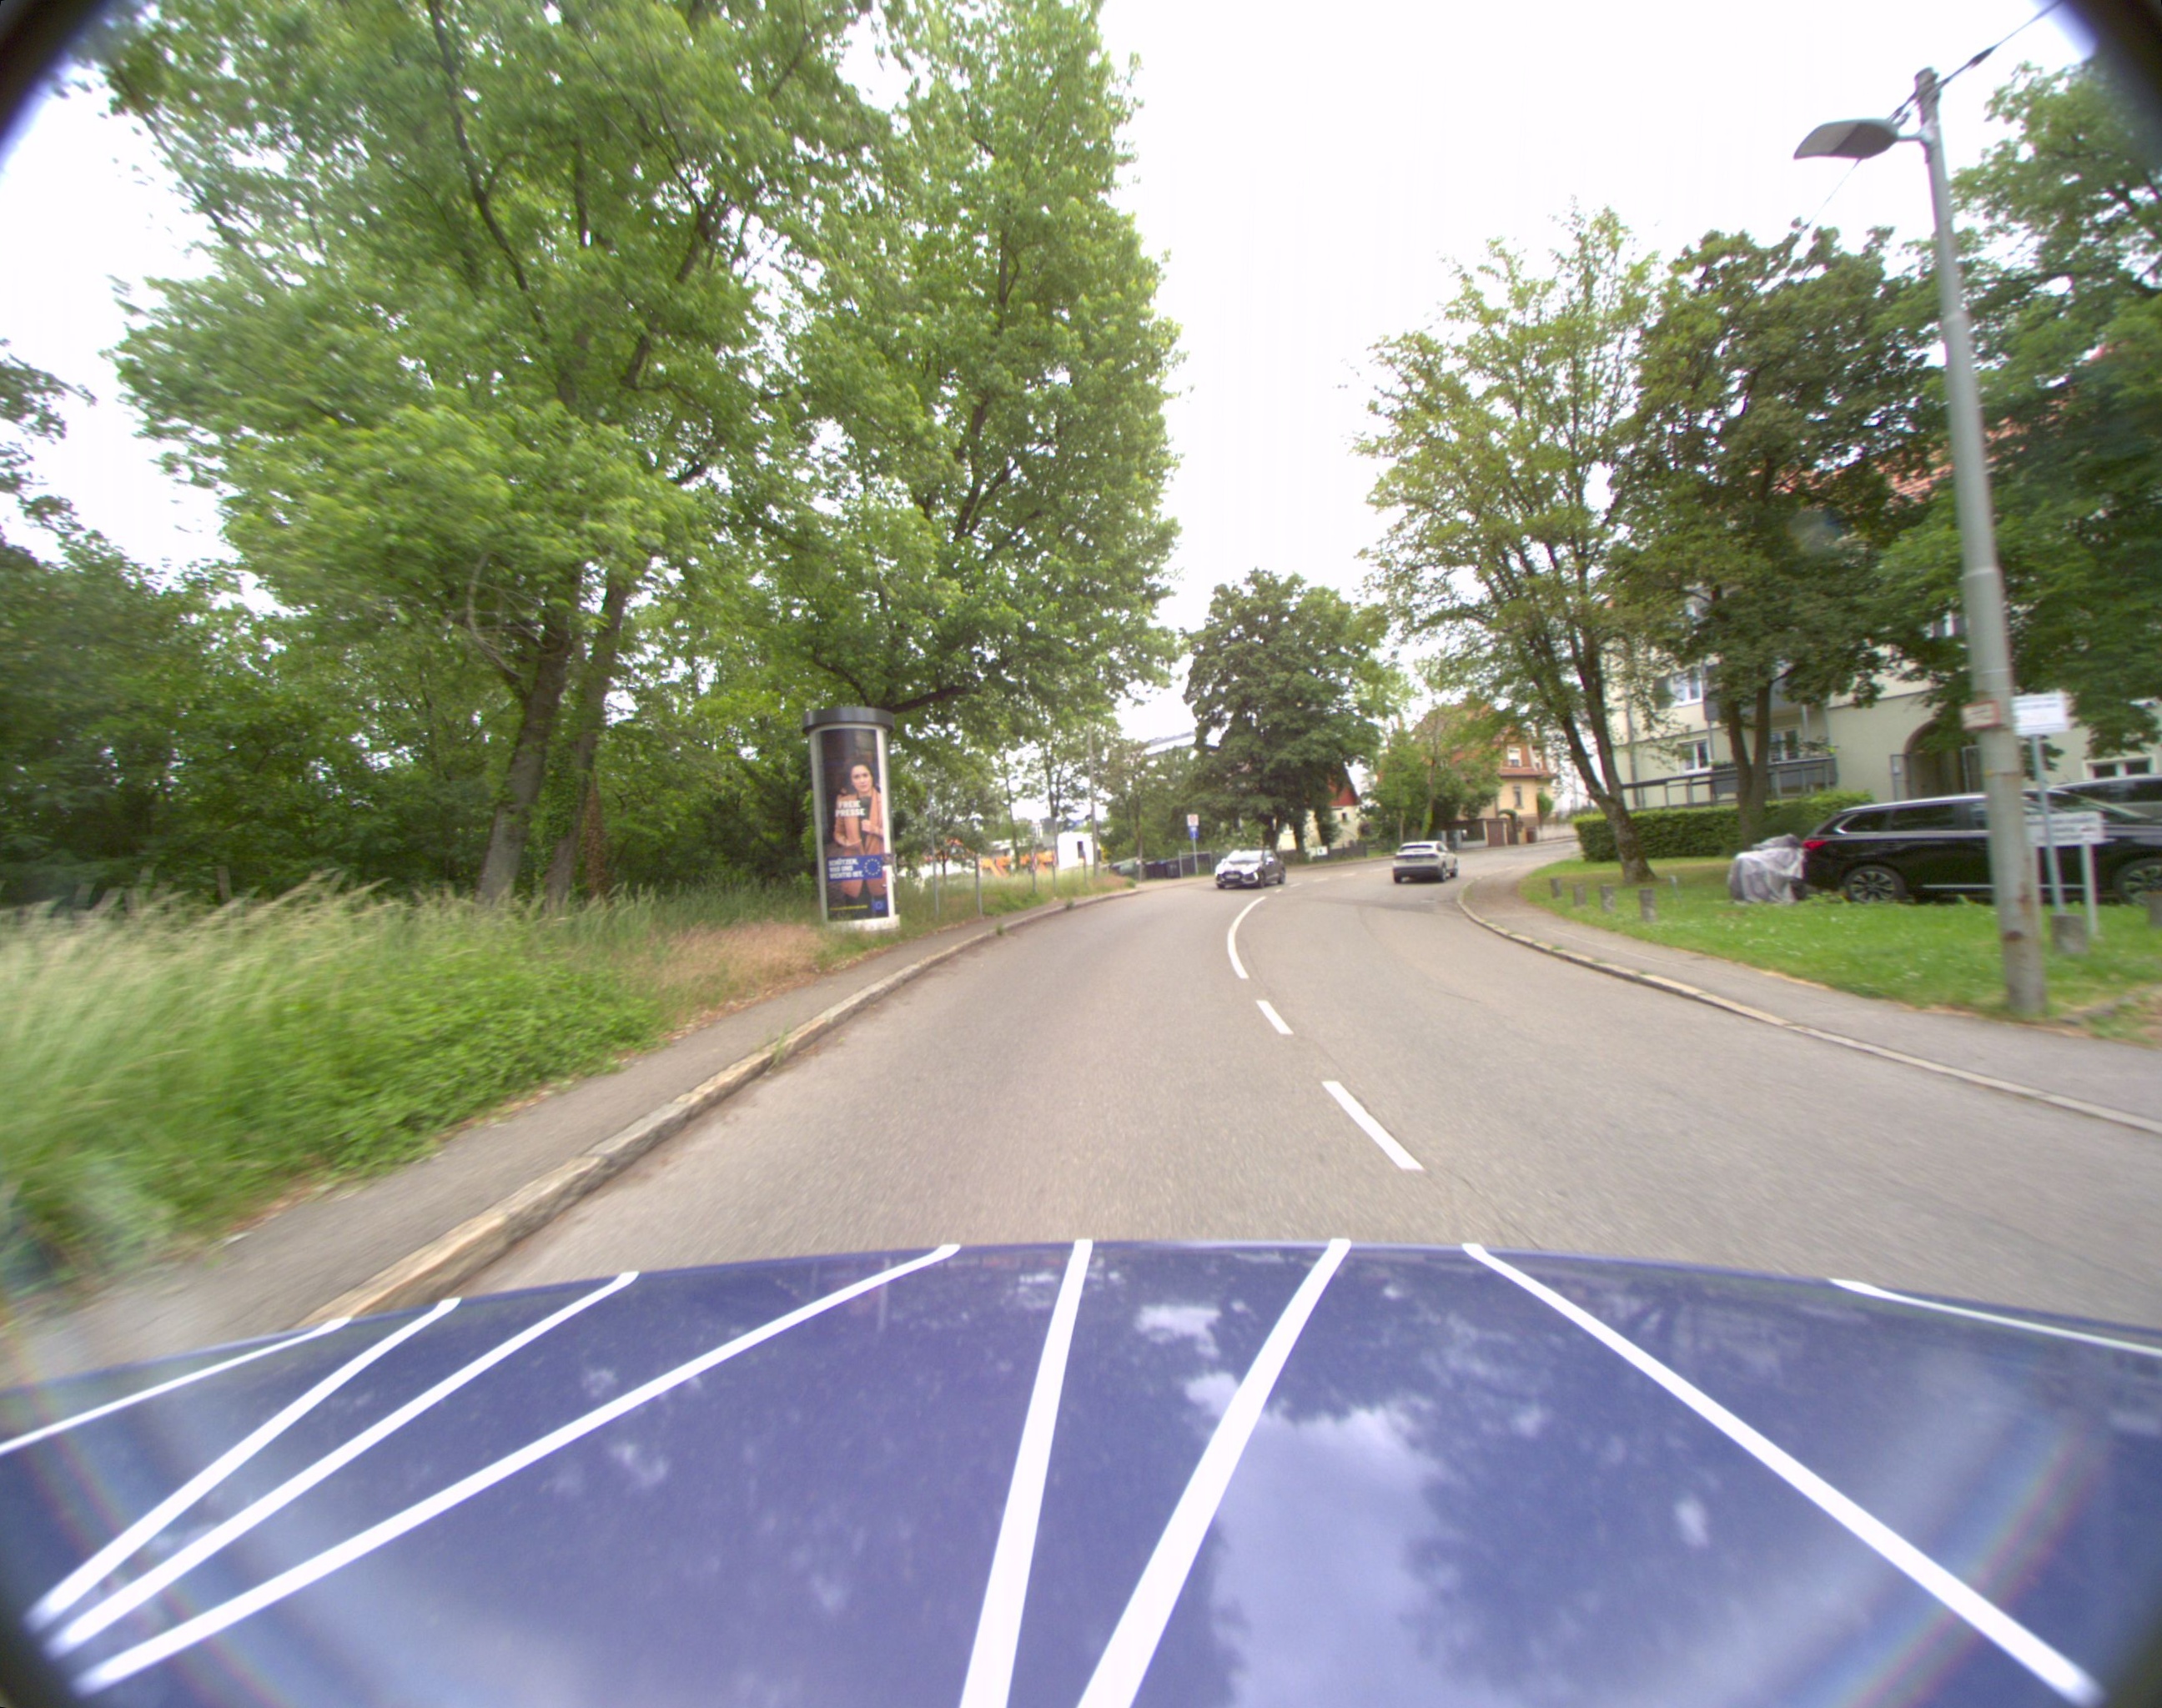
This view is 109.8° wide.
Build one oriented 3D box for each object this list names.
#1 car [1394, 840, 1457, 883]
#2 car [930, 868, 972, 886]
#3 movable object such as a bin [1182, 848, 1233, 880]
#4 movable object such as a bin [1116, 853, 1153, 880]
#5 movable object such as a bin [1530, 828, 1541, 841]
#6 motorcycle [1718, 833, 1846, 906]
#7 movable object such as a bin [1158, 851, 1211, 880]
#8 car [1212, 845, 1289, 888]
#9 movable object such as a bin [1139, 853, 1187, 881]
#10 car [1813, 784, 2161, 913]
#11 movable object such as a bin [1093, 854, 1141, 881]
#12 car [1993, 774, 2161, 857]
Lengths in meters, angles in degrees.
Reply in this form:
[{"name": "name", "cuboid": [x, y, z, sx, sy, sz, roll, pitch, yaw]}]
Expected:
[{"name": "car", "cuboid": [13.054, 0.237, 28.656, 1.725, 1.449, 4.086, 0, 1, 30]}, {"name": "car", "cuboid": [-29.509, 5.264, 172.591, 8.290, 3.362, 3.997, -5, 0, -31]}, {"name": "movable object such as a bin", "cuboid": [7.965, 0.646, 47.851, 2.211, 1.776, 2.105, -5, 0, -35]}, {"name": "movable object such as a bin", "cuboid": [3.267, 0.771, 46.484, 1.678, 1.538, 1.423, -4, 0, -38]}, {"name": "movable object such as a bin", "cuboid": [33.431, -1.450, 55.923, 0.567, 0.919, 0.461, -5, 3, -28]}, {"name": "motorcycle", "cuboid": [12.869, 0.272, 13.949, 2.068, 1.145, 0.864, -4, 1, -21]}, {"name": "movable object such as a bin", "cuboid": [6.812, 0.772, 50.064, 2.211, 1.703, 2.495, -5, 0, -35]}, {"name": "car", "cuboid": [6.464, 0.425, 28.679, 1.643, 1.390, 3.788, 0, 3, 32]}, {"name": "movable object such as a bin", "cuboid": [5.637, 0.875, 52.141, 2.211, 1.722, 2.230, -5, 0, -35]}, {"name": "car", "cuboid": [13.748, -0.083, 10.860, 1.749, 1.584, 4.326, -5, 0, -21]}, {"name": "movable object such as a bin", "cuboid": [2.303, 0.865, 48.680, 1.449, 1.538, 2.890, -4, 0, -38]}, {"name": "car", "cuboid": [21.994, -0.875, 15.054, 1.959, 1.524, 4.583, -5, -1, -24]}]
